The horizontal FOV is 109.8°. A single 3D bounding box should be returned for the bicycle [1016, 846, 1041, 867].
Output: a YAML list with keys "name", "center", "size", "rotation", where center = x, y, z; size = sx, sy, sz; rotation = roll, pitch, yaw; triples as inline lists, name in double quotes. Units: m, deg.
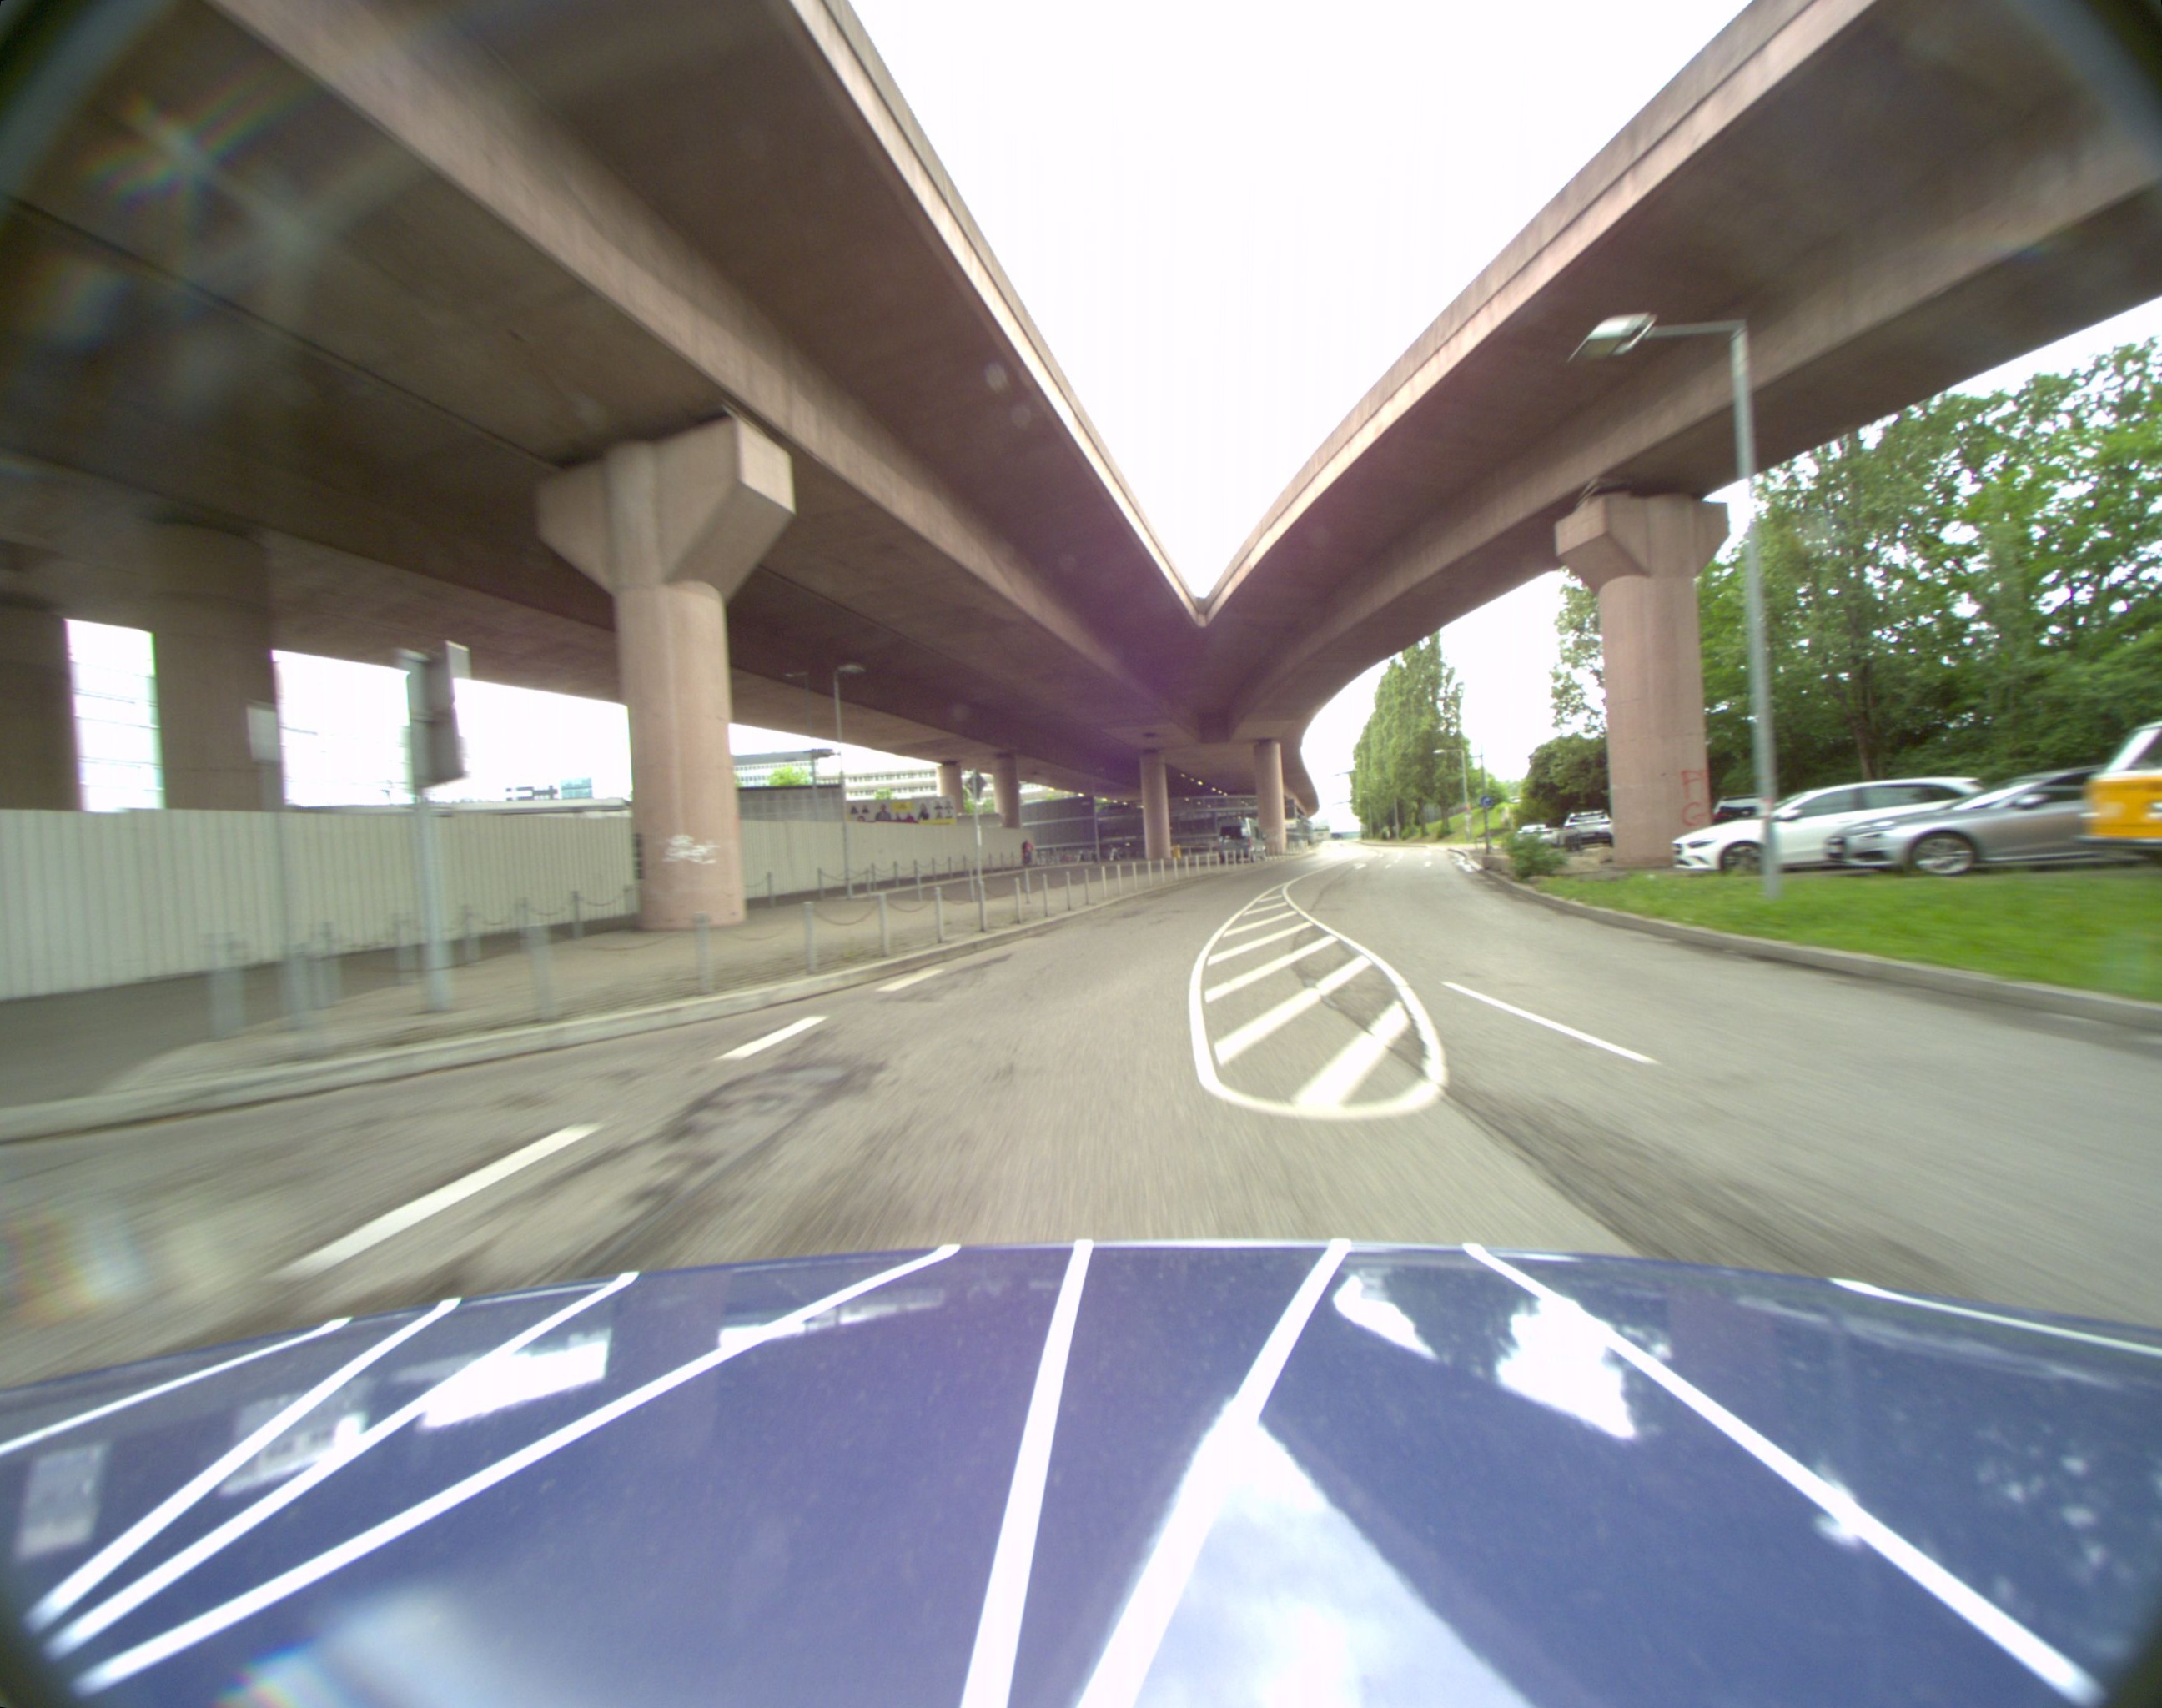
- name: "bicycle"
  center: [-2.989, 0.123, 43.350]
  size: [0.803, 1.091, 2.133]
  rotation: [-2, 1, 13]

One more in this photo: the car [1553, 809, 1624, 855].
- name: "car"
  center: [22.199, -0.994, 33.155]
  size: [1.996, 1.573, 4.407]
  rotation: [-8, -1, 40]

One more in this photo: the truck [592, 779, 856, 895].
- name: "truck"
  center: [-15.104, -0.810, 32.758]
  size: [9.740, 4.418, 3.140]
  rotation: [-3, 1, -31]

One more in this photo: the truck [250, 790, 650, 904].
- name: "truck"
  center: [-18.097, -0.317, 22.914]
  size: [8.730, 2.927, 3.140]
  rotation: [-1, 2, -28]

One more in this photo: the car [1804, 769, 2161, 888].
- name: "car"
  center: [13.927, -0.387, 11.237]
  size: [4.248, 1.363, 2.003]
  rotation: [-6, -1, 29]

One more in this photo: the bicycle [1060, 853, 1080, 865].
- name: "bicycle"
  center: [-0.979, 0.483, 69.577]
  size: [1.731, 0.976, 0.437]
  rotation: [-3, 0, 17]

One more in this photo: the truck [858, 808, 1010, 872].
- name: "truck"
  center: [-10.642, -1.096, 55.598]
  size: [10.312, 4.279, 3.006]
  rotation: [-3, 1, -29]

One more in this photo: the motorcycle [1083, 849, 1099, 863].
- name: "motorcycle"
  center: [0.838, 0.185, 63.792]
  size: [0.543, 1.098, 2.334]
  rotation: [-3, -3, 19]

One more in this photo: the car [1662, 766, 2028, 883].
- name: "car"
  center: [13.820, -0.463, 14.217]
  size: [4.385, 1.596, 1.958]
  rotation: [-6, -1, 31]

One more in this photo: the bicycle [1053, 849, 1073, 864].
- name: "bicycle"
  center: [-1.567, 0.214, 66.453]
  size: [0.621, 1.098, 2.325]
  rotation: [0, -4, -32]

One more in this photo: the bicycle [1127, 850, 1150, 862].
- name: "bicycle"
  center: [5.129, 0.160, 67.868]
  size: [2.016, 0.921, 0.419]
  rotation: [-3, 0, 10]

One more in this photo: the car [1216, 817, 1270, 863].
- name: "car"
  center: [10.065, -0.854, 46.749]
  size: [1.995, 2.598, 6.083]
  rotation: [-2, 1, 23]

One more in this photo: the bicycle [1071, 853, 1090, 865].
- name: "bicycle"
  center: [-0.044, 0.496, 78.232]
  size: [1.786, 1.072, 0.437]
  rotation: [-3, 0, 8]

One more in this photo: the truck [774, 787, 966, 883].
- name: "truck"
  center: [-11.701, -1.155, 42.691]
  size: [9.739, 4.895, 3.140]
  rotation: [-3, 1, -31]

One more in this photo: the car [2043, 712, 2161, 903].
- name: "car"
  center: [14.236, -0.689, 8.058]
  size: [4.560, 2.098, 1.853]
  rotation: [-5, 0, 27]

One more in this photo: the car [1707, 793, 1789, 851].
- name: "car"
  center: [22.429, -1.107, 25.541]
  size: [1.858, 1.681, 4.171]
  rotation: [-4, 1, 42]

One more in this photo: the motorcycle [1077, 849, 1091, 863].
- name: "motorcycle"
  center: [0.262, 0.174, 65.066]
  size: [0.572, 1.098, 2.333]
  rotation: [-3, -3, 16]

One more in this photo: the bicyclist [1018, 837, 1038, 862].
- name: "bicyclist"
  center: [-3.005, -0.278, 43.317]
  size: [0.797, 1.397, 1.067]
  rotation: [-2, 1, 13]

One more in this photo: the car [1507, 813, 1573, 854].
- name: "car"
  center: [22.463, -1.020, 37.127]
  size: [1.996, 1.471, 4.836]
  rotation: [-8, 0, 39]

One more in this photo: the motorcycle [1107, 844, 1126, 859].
- name: "motorcycle"
  center: [3.037, -0.229, 64.035]
  size: [0.783, 1.227, 2.541]
  rotation: [-2, -1, 22]

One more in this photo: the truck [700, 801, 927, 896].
- name: "truck"
  center: [-13.085, -0.398, 37.667]
  size: [10.080, 4.159, 2.892]
  rotation: [-3, 1, -29]

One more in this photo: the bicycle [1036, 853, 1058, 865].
- name: "bicycle"
  center: [-3.127, 0.452, 70.431]
  size: [2.058, 1.017, 0.396]
  rotation: [-4, -1, 24]
